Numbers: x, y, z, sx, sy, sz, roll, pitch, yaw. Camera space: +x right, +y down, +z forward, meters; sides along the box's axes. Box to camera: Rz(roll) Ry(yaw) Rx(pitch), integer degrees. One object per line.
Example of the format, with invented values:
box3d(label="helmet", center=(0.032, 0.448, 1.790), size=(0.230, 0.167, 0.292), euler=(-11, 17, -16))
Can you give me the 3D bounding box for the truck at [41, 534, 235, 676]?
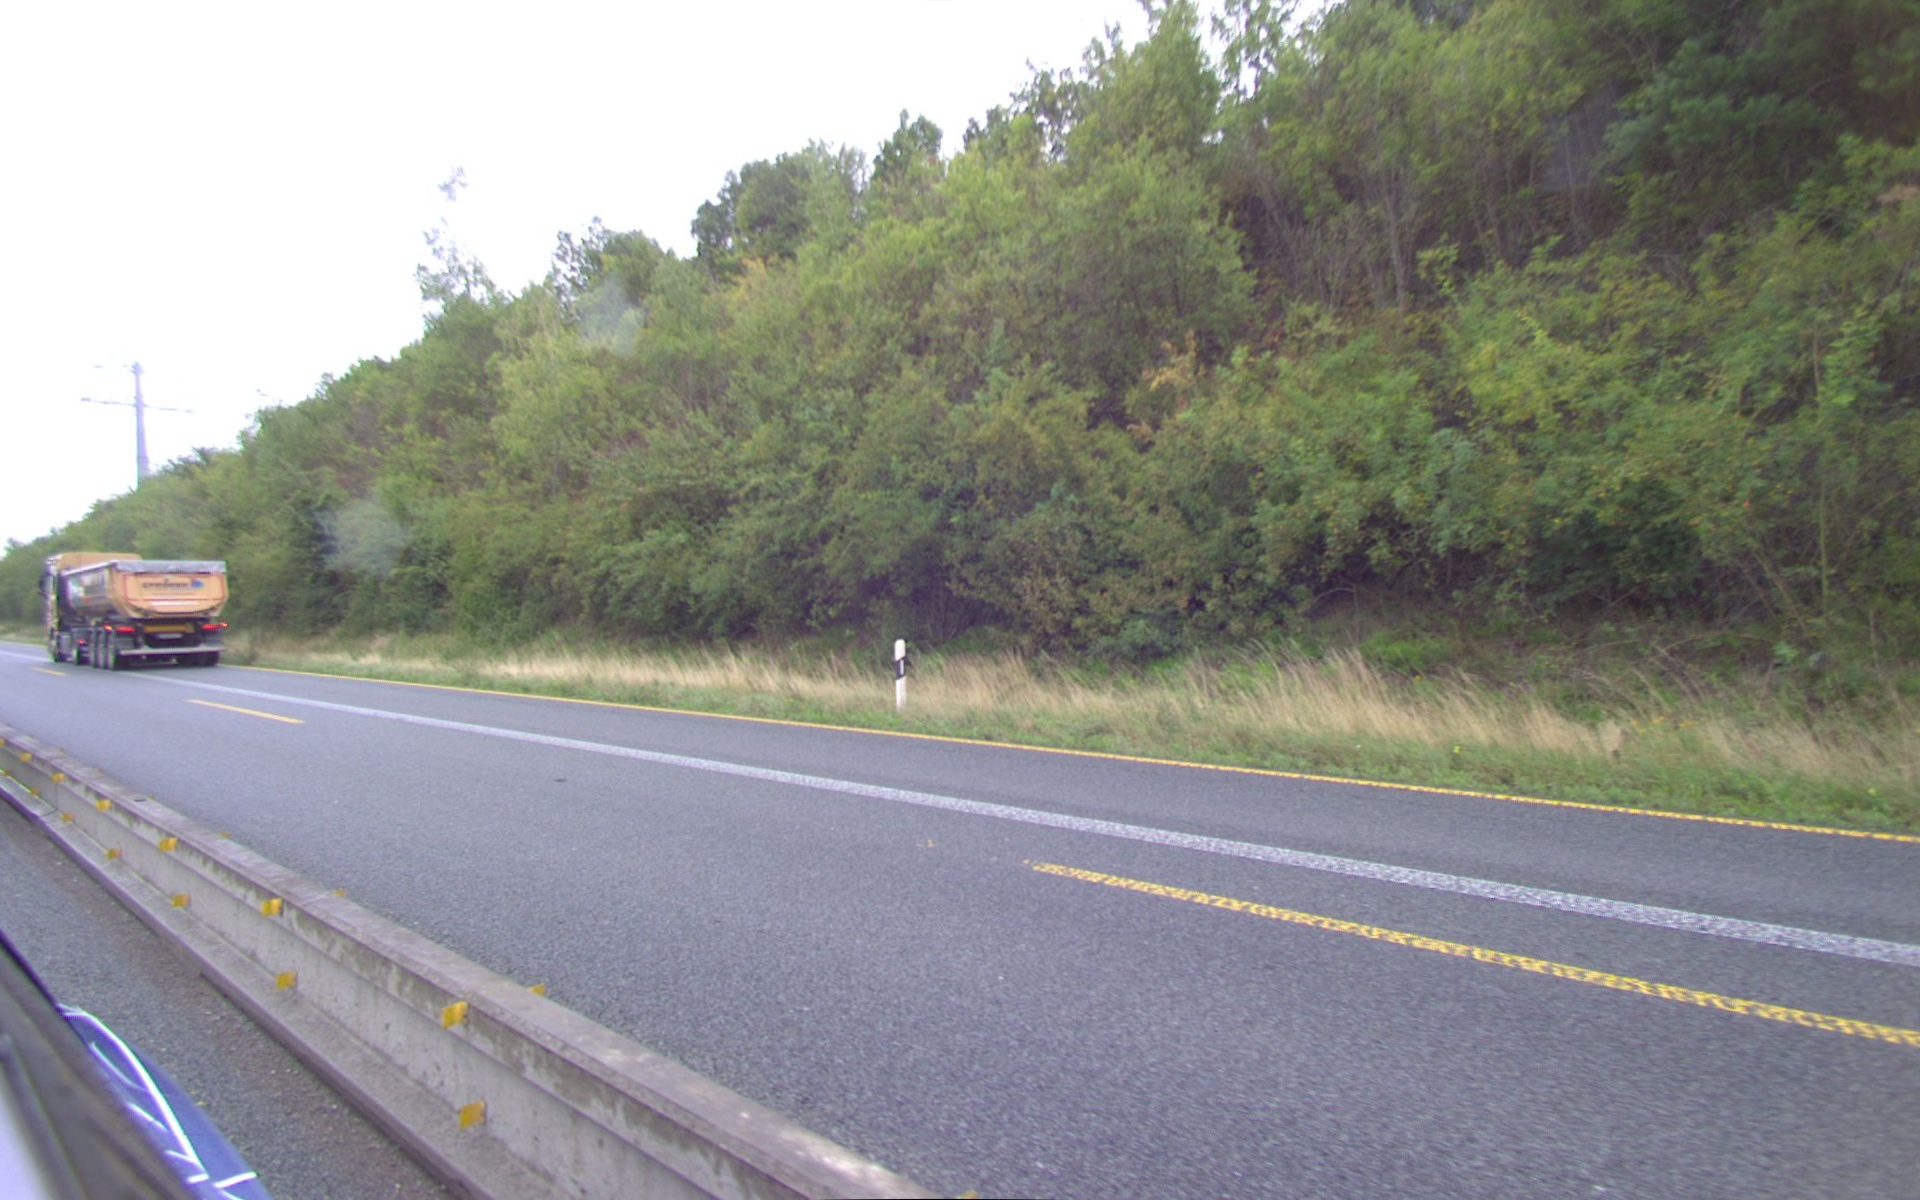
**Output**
box3d(label="truck", center=(-25.756, 0.185, 31.340), size=(12.306, 3.684, 2.653), euler=(-1, 0, 41))
